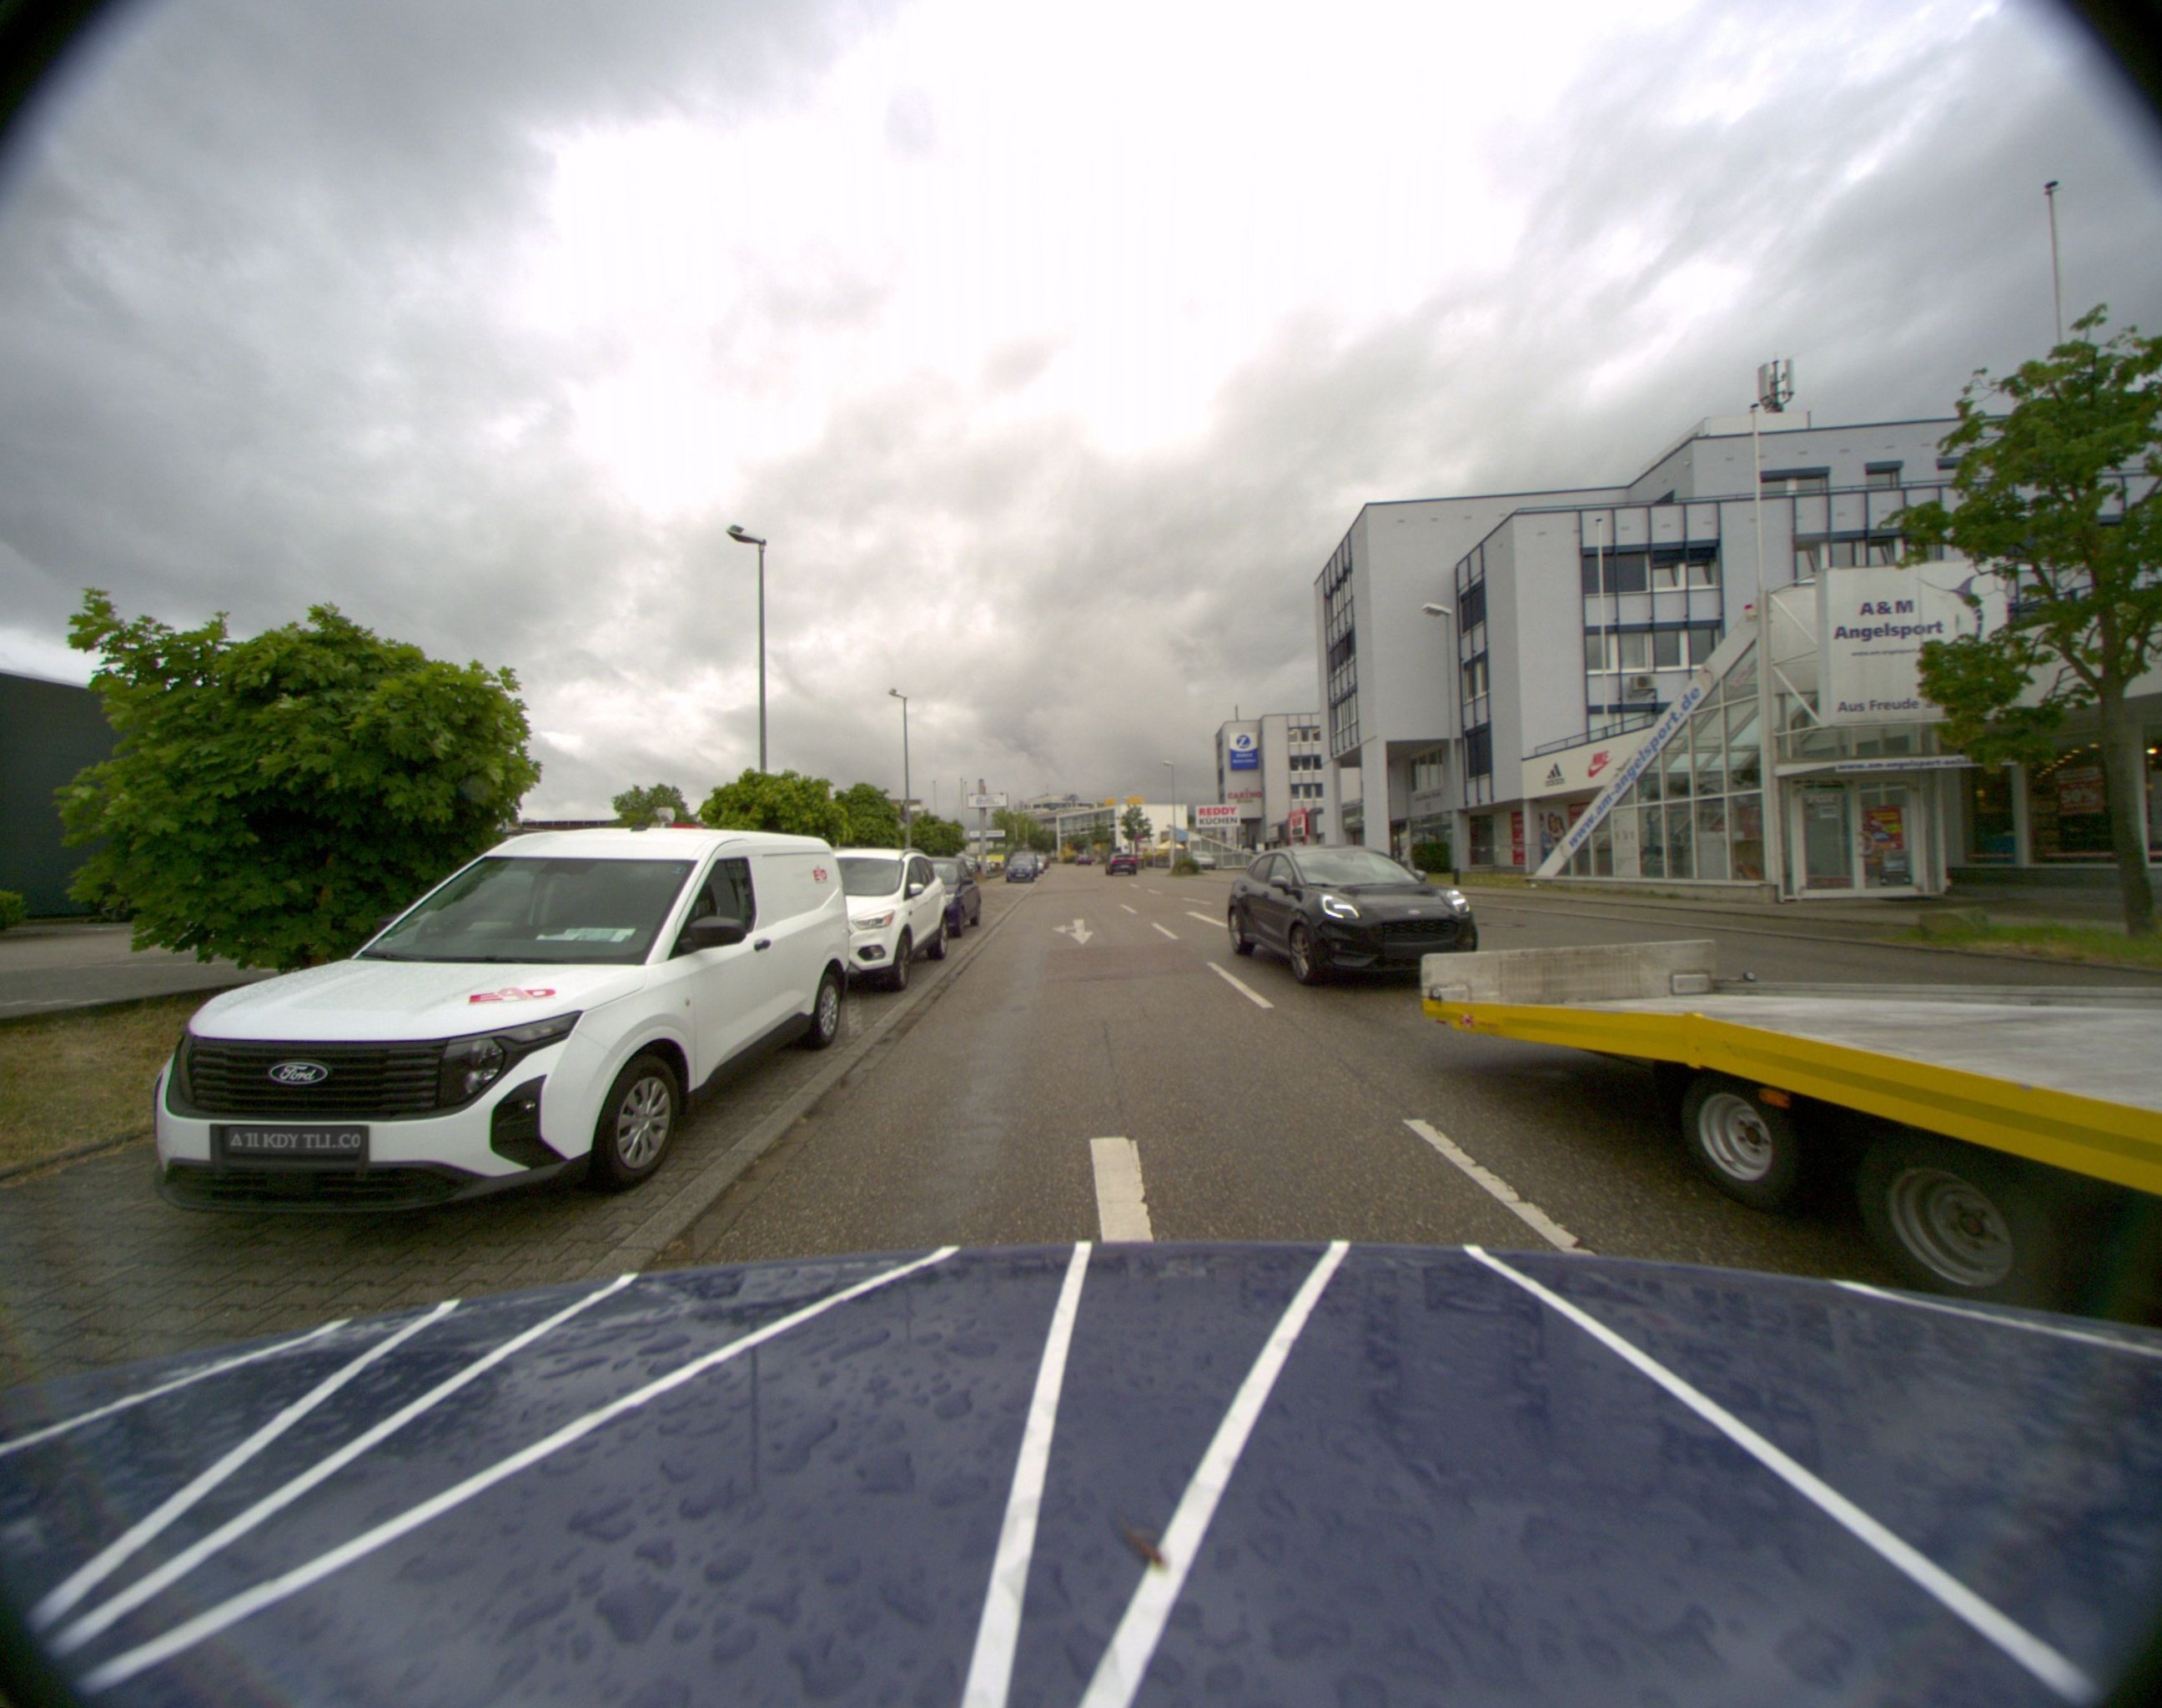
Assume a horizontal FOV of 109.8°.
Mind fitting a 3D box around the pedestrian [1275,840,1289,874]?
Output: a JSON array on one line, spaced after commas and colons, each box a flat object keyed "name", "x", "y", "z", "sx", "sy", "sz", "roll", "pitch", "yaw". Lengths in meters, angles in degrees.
[{"name": "pedestrian", "x": 10.208, "y": 0.155, "z": 38.603, "sx": 0.550, "sy": 1.698, "sz": 0.519, "roll": -2, "pitch": 1, "yaw": 2}]

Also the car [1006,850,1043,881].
[{"name": "car", "x": -3.337, "y": 0.670, "z": 45.320, "sx": 1.822, "sy": 1.698, "sz": 4.000, "roll": -2, "pitch": 1, "yaw": 1}]

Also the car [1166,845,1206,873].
[{"name": "car", "x": 6.453, "y": 0.309, "z": 47.041, "sx": 1.822, "sy": 1.601, "sz": 4.000, "roll": -3, "pitch": 0, "yaw": 1}]

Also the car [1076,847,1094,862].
[{"name": "car", "x": 0.512, "y": 0.047, "z": 97.604, "sx": 1.765, "sy": 1.755, "sz": 3.682, "roll": -2, "pitch": 1, "yaw": -9}]

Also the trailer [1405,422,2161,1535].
[{"name": "trailer", "x": 3.540, "y": 0.268, "z": 1.433, "sx": 2.309, "sy": 2.460, "sz": 7.968, "roll": -1, "pitch": 1, "yaw": -1}]

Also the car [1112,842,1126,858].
[{"name": "car", "x": 4.725, "y": -0.504, "z": 95.038, "sx": 1.567, "sy": 1.807, "sz": 3.906, "roll": -2, "pitch": 1, "yaw": 1}]

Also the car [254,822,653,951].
[{"name": "car", "x": -9.559, "y": 0.445, "z": 11.943, "sx": 4.501, "sy": 1.730, "sz": 1.892, "roll": -2, "pitch": 1, "yaw": -4}]

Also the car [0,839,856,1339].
[{"name": "car", "x": -2.971, "y": 0.817, "z": 4.823, "sx": 1.797, "sy": 1.773, "sz": 4.248, "roll": 0, "pitch": 1, "yaw": 0}]

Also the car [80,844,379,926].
[{"name": "car", "x": -20.350, "y": 0.696, "z": 18.358, "sx": 4.741, "sy": 1.730, "sz": 1.892, "roll": -2, "pitch": 1, "yaw": -4}]

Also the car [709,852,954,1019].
[{"name": "car", "x": -2.987, "y": 0.861, "z": 10.076, "sx": 1.822, "sy": 1.698, "sz": 4.000, "roll": -2, "pitch": 1, "yaw": 1}]

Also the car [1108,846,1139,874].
[{"name": "car", "x": 2.874, "y": 0.374, "z": 52.222, "sx": 1.901, "sy": 1.755, "sz": 3.999, "roll": -2, "pitch": 1, "yaw": 1}]

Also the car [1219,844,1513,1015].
[{"name": "car", "x": 3.102, "y": 0.707, "z": 9.260, "sx": 1.814, "sy": 1.531, "sz": 3.998, "roll": -3, "pitch": 0, "yaw": -4}]

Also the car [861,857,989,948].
[{"name": "car", "x": -3.156, "y": 0.916, "z": 16.201, "sx": 1.822, "sy": 1.589, "sz": 4.000, "roll": -2, "pitch": 1, "yaw": 1}]

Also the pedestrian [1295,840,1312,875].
[{"name": "pedestrian", "x": 11.376, "y": 0.185, "z": 38.789, "sx": 0.644, "sy": 1.733, "sz": 0.589, "roll": -1, "pitch": 1, "yaw": 33}]
